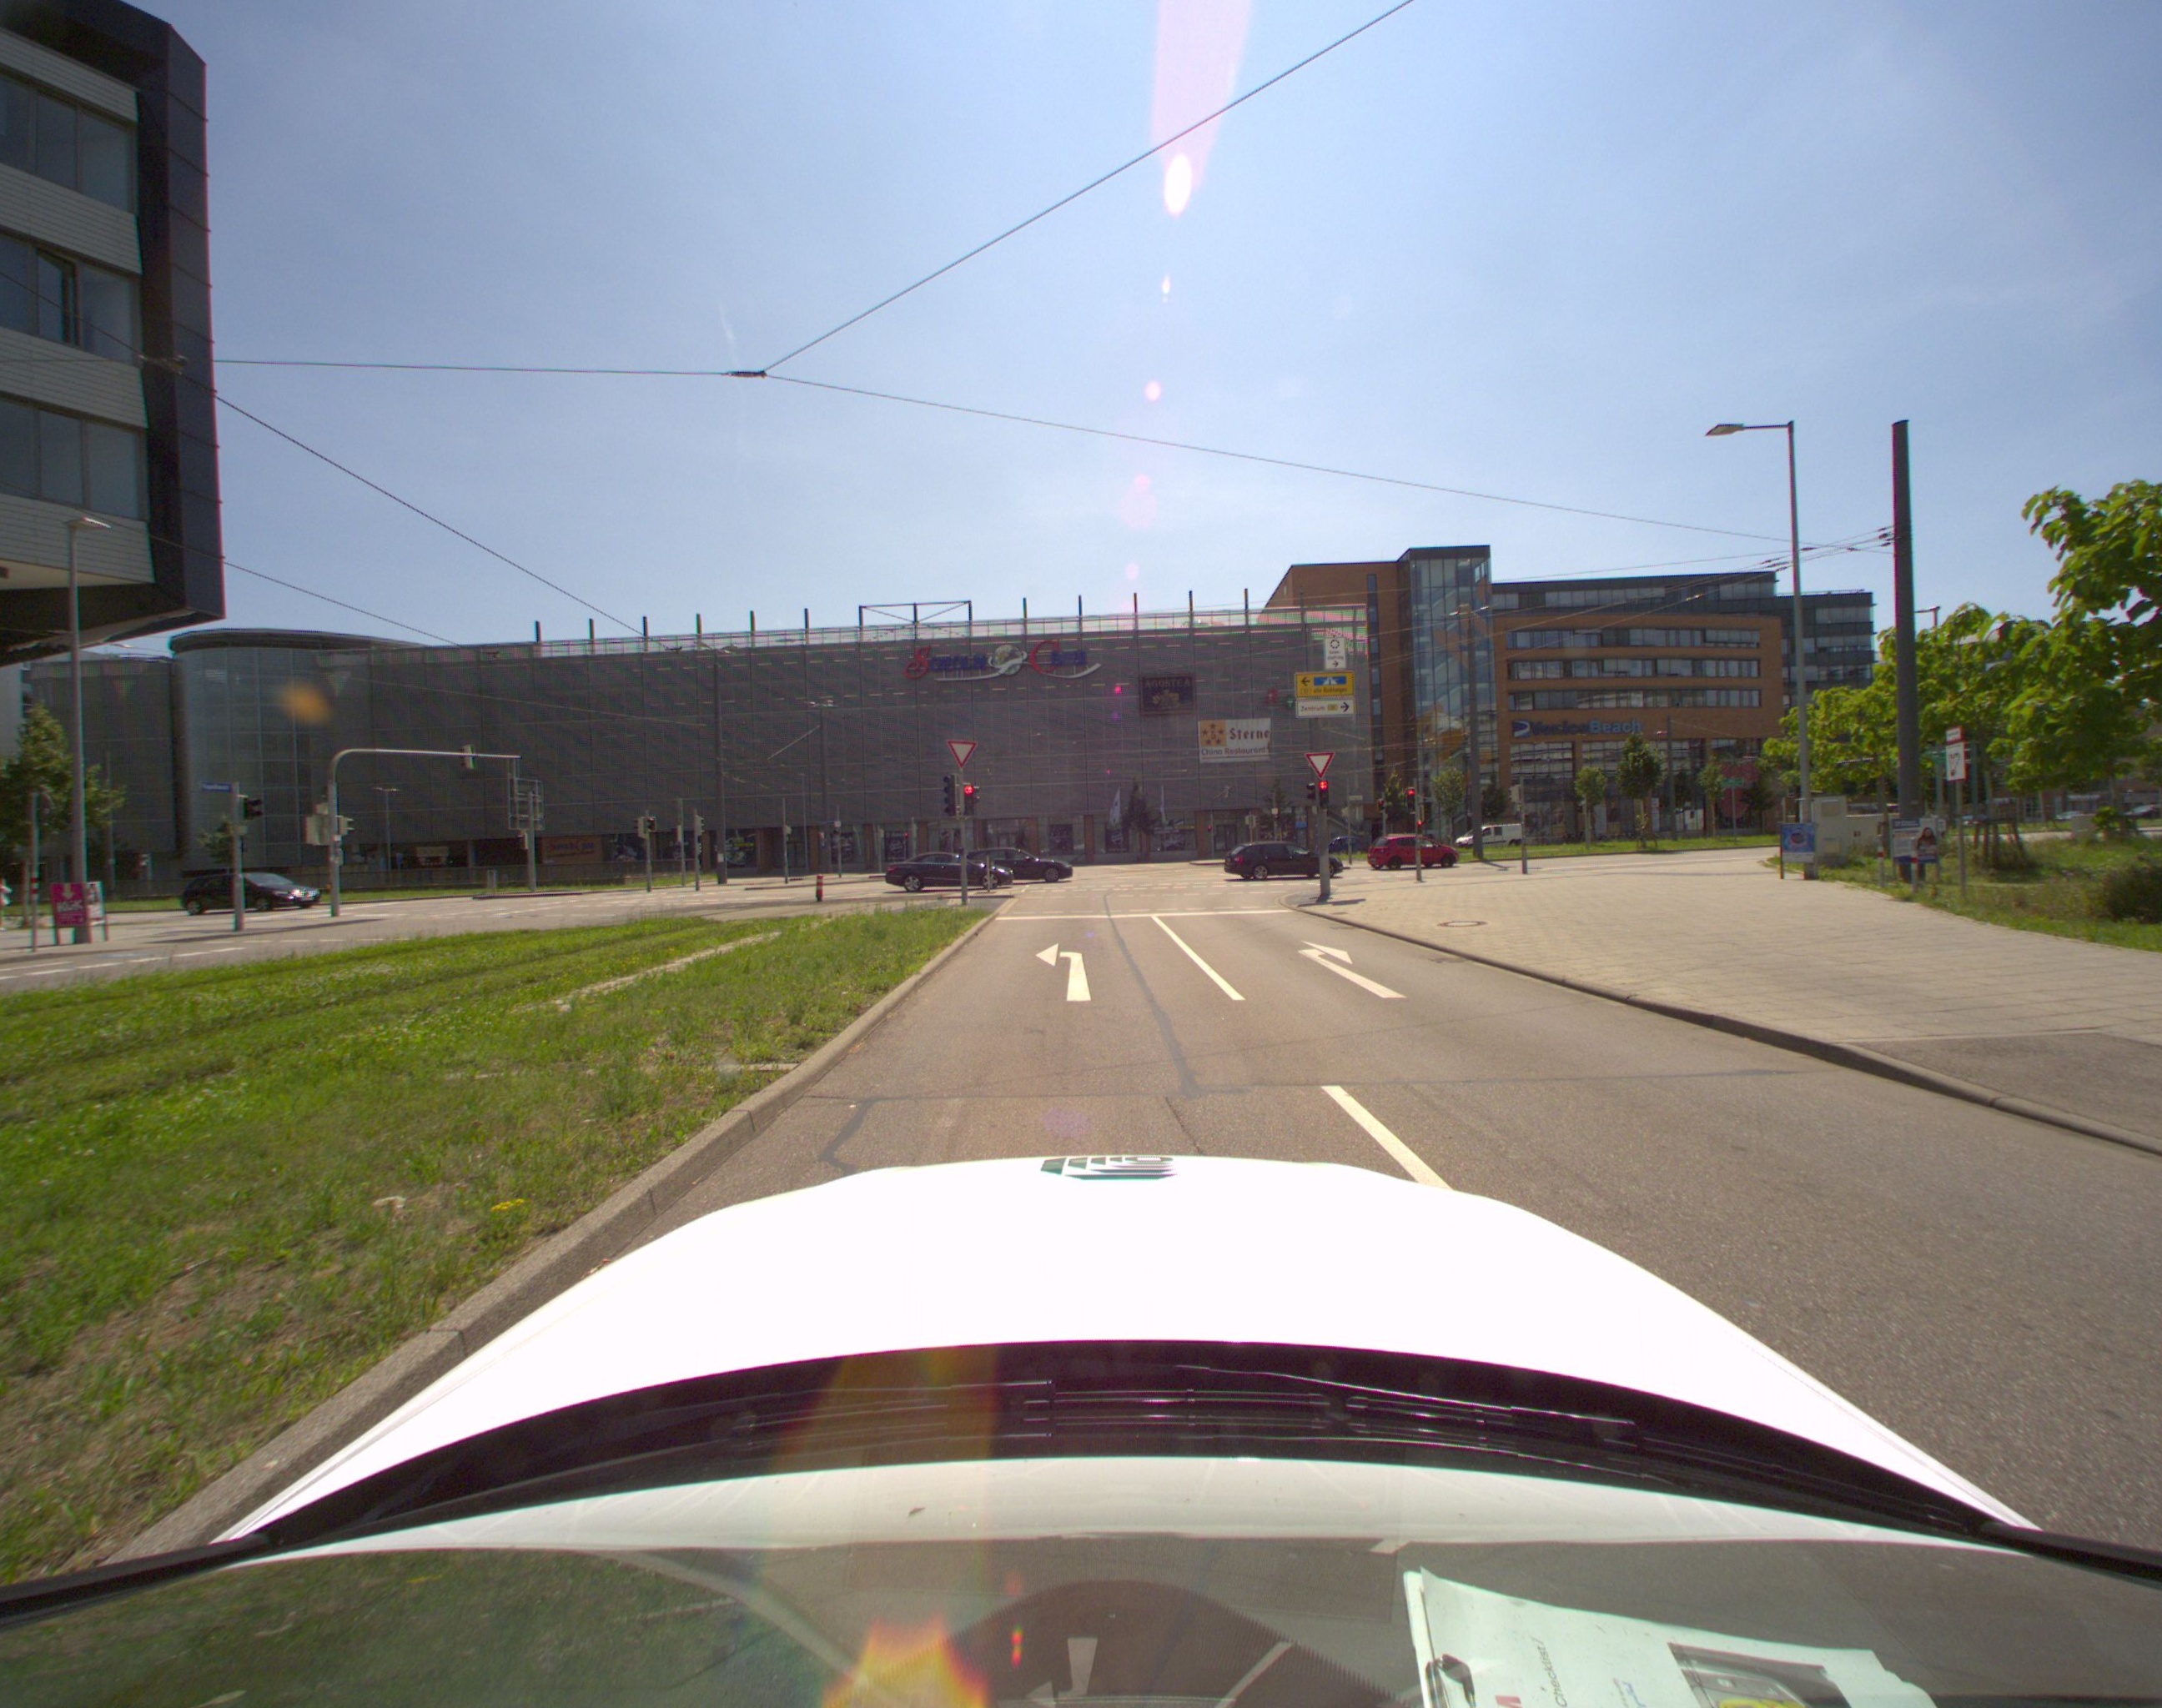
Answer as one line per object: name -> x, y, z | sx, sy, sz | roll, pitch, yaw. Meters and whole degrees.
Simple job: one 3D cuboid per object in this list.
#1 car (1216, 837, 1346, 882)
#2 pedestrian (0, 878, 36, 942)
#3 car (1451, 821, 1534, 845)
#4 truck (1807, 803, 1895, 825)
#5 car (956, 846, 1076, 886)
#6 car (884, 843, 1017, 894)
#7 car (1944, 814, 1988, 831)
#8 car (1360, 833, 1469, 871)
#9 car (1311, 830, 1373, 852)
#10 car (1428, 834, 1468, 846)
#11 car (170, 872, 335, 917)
car -> 7.733, 0.177, 31.686 | 4.521, 1.508, 1.838 | -3, 1, -7
pedestrian -> -30.508, 1.577, 22.980 | 0.907, 1.746, 0.968 | -2, 1, -30
car -> 31.340, -1.587, 62.131 | 5.454, 1.667, 1.997 | -1, 1, -5
truck -> 108.885, -5.640, 115.390 | 2.000, 2.808, 9.179 | -2, 1, -20
car -> -2.632, 0.461, 33.530 | 4.753, 1.460, 1.886 | -1, 1, -3
car -> -4.692, 0.506, 29.962 | 4.538, 1.576, 1.998 | -3, 1, -3
car -> 84.430, -2.984, 77.686 | 4.006, 1.530, 1.670 | -2, 1, -25
car -> 14.721, -0.111, 36.054 | 4.127, 1.508, 1.836 | -2, 1, -11
car -> 19.508, -1.000, 60.991 | 3.976, 1.538, 1.880 | -1, 1, -2
car -> 33.081, -1.271, 73.444 | 2.986, 1.035, 1.349 | -1, 1, -3
car -> -32.952, 1.593, 32.504 | 4.311, 1.553, 1.998 | -1, 1, -4
